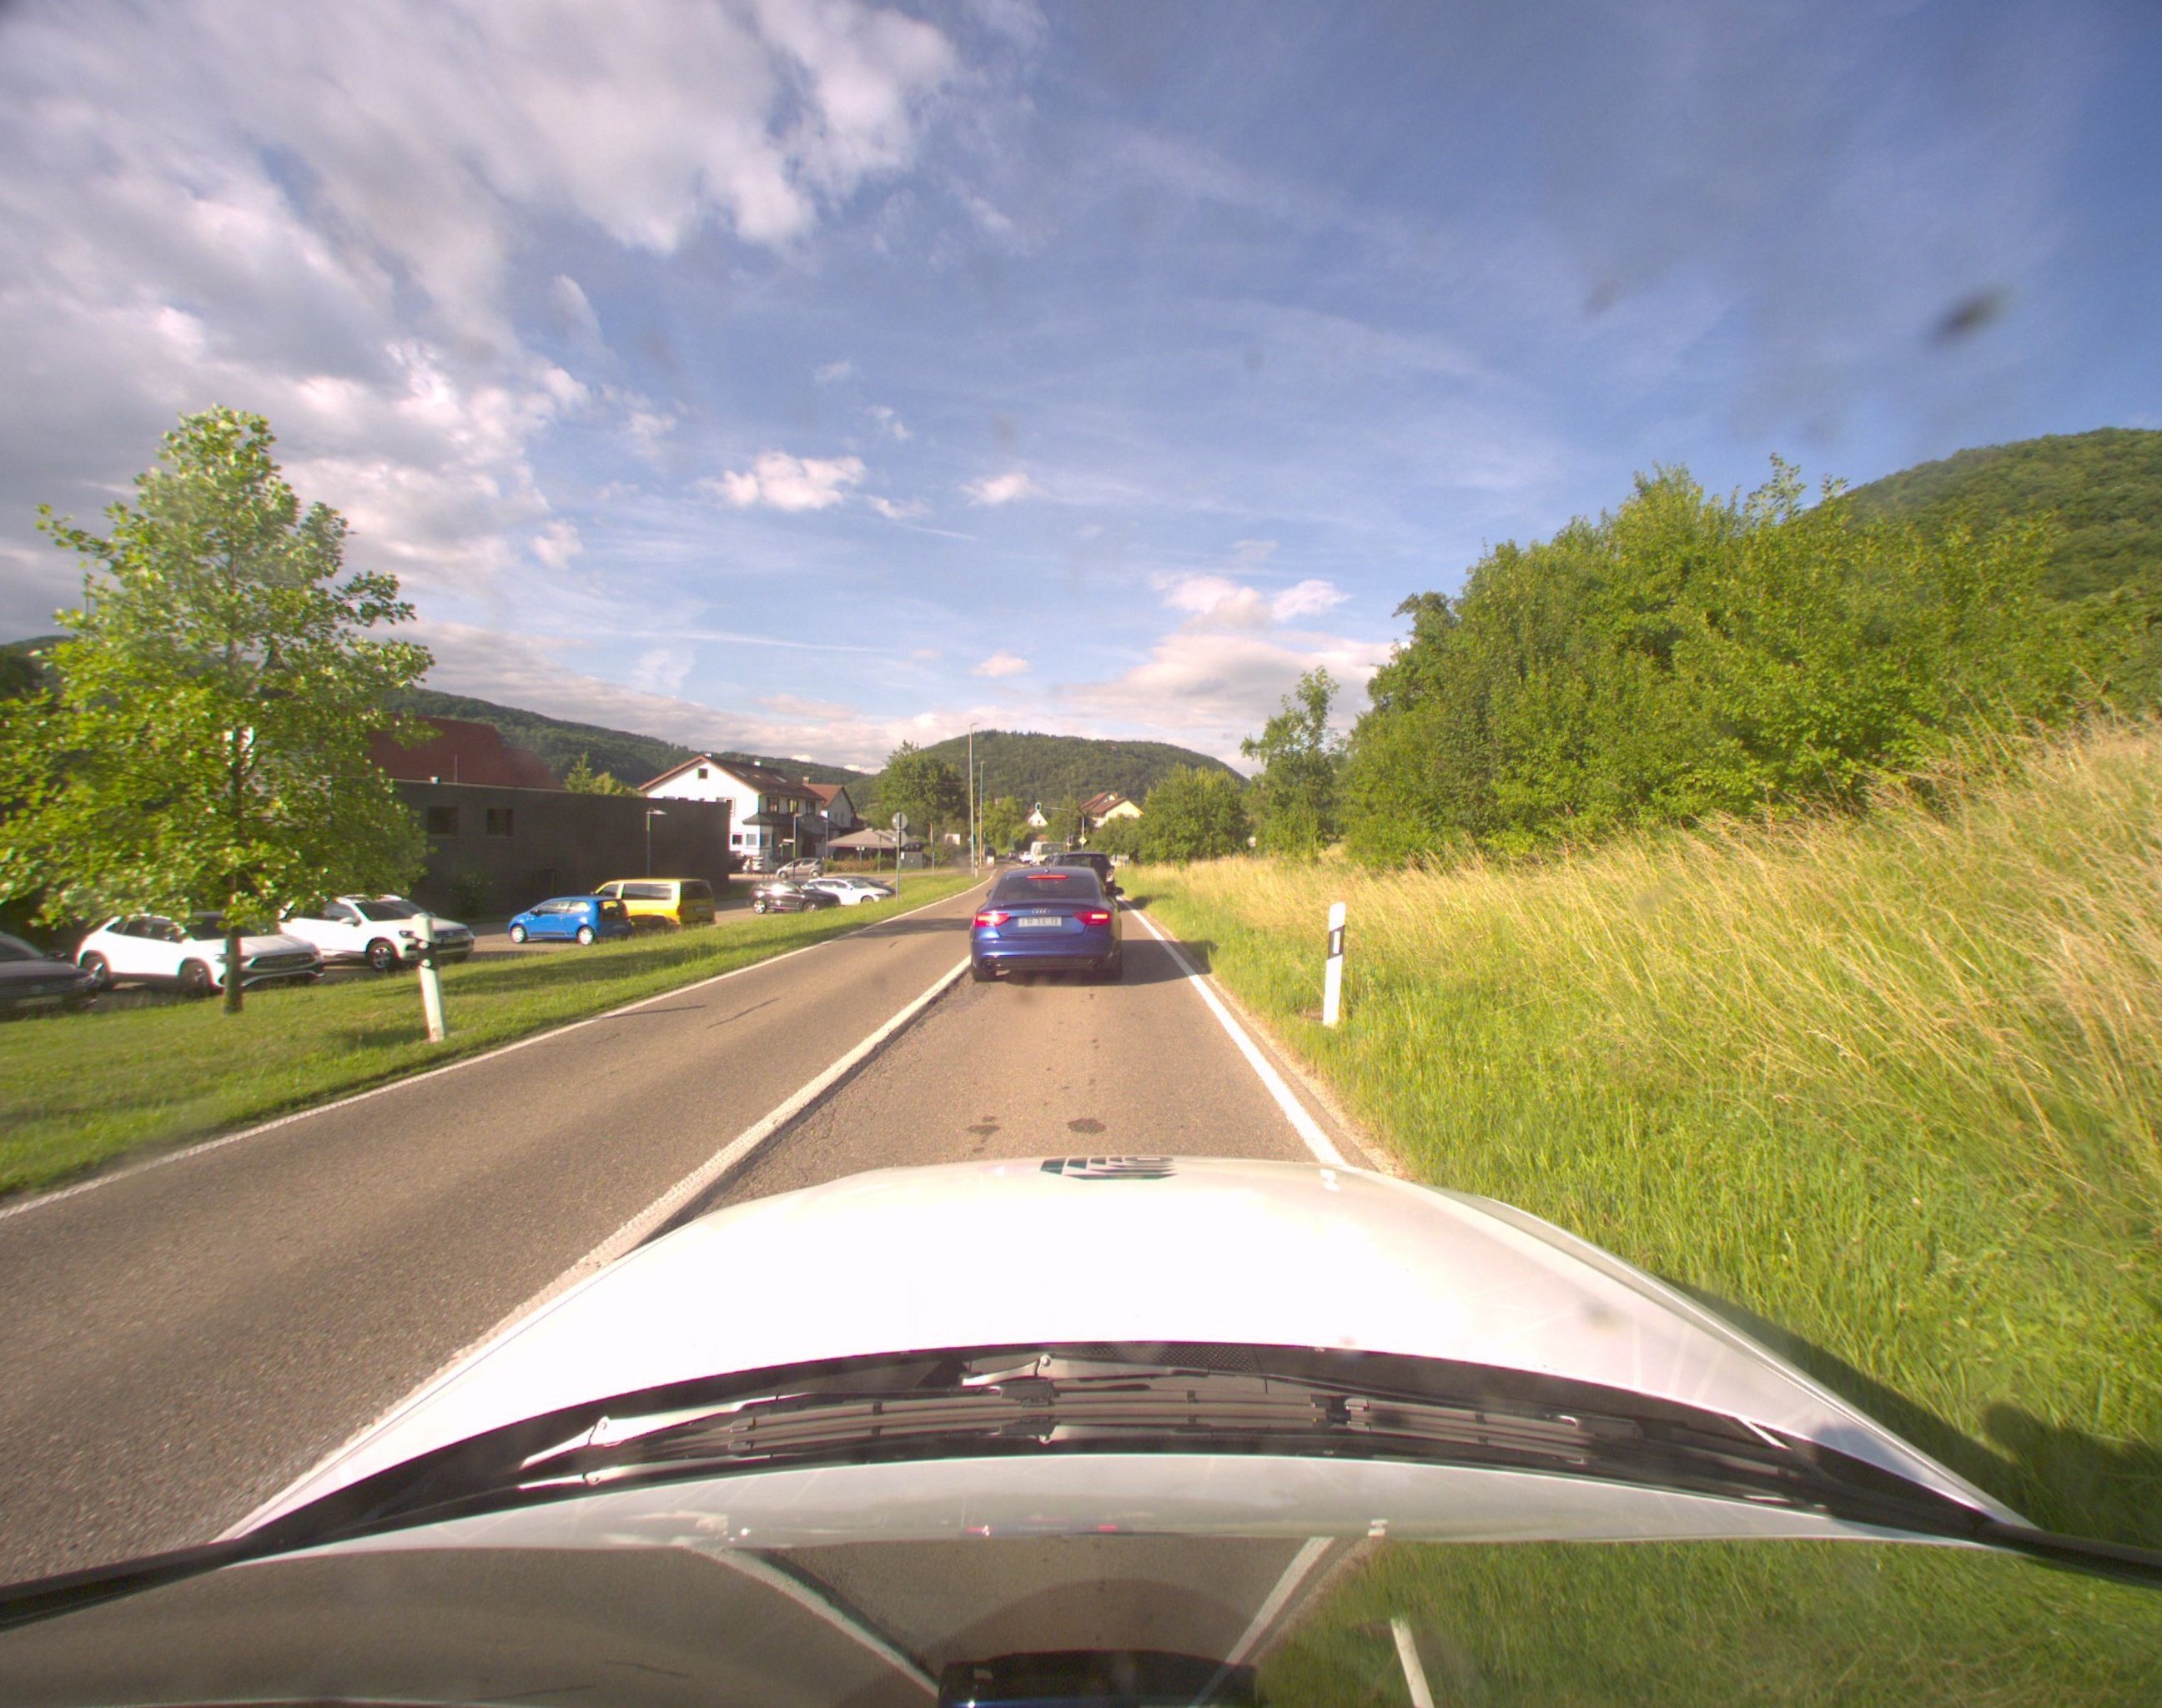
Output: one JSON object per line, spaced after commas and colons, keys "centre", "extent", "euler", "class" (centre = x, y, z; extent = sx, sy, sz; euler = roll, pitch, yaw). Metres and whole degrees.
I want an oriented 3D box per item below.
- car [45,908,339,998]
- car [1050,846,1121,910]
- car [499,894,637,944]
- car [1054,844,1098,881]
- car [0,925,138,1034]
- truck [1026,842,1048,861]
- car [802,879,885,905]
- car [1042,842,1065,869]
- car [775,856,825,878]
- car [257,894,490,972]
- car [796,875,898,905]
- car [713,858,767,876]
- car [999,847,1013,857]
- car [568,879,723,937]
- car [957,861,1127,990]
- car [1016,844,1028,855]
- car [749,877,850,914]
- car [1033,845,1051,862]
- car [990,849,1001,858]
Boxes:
{"centre": [-18.236, 1.959, 16.796], "extent": [4.509, 1.555, 2.006], "euler": [0, -1, 11], "class": "car"}
{"centre": [0.219, 0.646, 23.056], "extent": [1.738, 1.639, 4.004], "euler": [0, -1, 4], "class": "car"}
{"centre": [-16.300, 2.041, 25.959], "extent": [3.472, 1.472, 1.637], "euler": [0, -1, 9], "class": "car"}
{"centre": [-0.155, 0.386, 38.292], "extent": [1.797, 1.639, 4.466], "euler": [0, -1, 3], "class": "car"}
{"centre": [-18.889, 2.047, 13.659], "extent": [4.509, 1.555, 2.006], "euler": [0, -1, 11], "class": "car"}
{"centre": [-4.636, -0.250, 85.681], "extent": [1.697, 1.953, 5.903], "euler": [0, -1, -9], "class": "truck"}
{"centre": [-13.041, 2.080, 44.835], "extent": [3.965, 1.310, 1.764], "euler": [0, -1, 7], "class": "car"}
{"centre": [-2.252, 0.141, 66.394], "extent": [1.743, 2.195, 3.993], "euler": [0, -1, -4], "class": "car"}
{"centre": [-21.868, 0.975, 63.585], "extent": [3.461, 1.662, 1.733], "euler": [0, -1, -12], "class": "car"}
{"centre": [-17.560, 1.904, 20.319], "extent": [4.509, 1.703, 2.006], "euler": [0, -1, 11], "class": "car"}
{"centre": [-12.246, 1.866, 42.689], "extent": [4.782, 1.493, 1.887], "euler": [0, -1, 11], "class": "car"}
{"centre": [-28.173, 1.039, 67.413], "extent": [1.748, 1.442, 4.022], "euler": [-1, -1, 24], "class": "car"}
{"centre": [-11.376, -0.272, 123.805], "extent": [1.699, 1.490, 3.511], "euler": [0, -1, -13], "class": "car"}
{"centre": [-15.144, 1.838, 28.386], "extent": [4.576, 1.868, 2.008], "euler": [0, -1, 15], "class": "car"}
{"centre": [-0.328, 0.813, 10.985], "extent": [1.787, 1.388, 4.004], "euler": [-1, -1, 4], "class": "car"}
{"centre": [-9.001, -0.681, 124.634], "extent": [1.696, 1.490, 3.518], "euler": [0, -1, -7], "class": "car"}
{"centre": [-13.230, 1.941, 38.320], "extent": [3.998, 1.637, 2.006], "euler": [0, -1, 11], "class": "car"}
{"centre": [-3.863, -0.032, 80.482], "extent": [1.743, 1.639, 3.993], "euler": [0, -1, -4], "class": "car"}
{"centre": [-15.621, -0.090, 148.410], "extent": [1.626, 1.576, 3.666], "euler": [0, -1, -10], "class": "car"}
